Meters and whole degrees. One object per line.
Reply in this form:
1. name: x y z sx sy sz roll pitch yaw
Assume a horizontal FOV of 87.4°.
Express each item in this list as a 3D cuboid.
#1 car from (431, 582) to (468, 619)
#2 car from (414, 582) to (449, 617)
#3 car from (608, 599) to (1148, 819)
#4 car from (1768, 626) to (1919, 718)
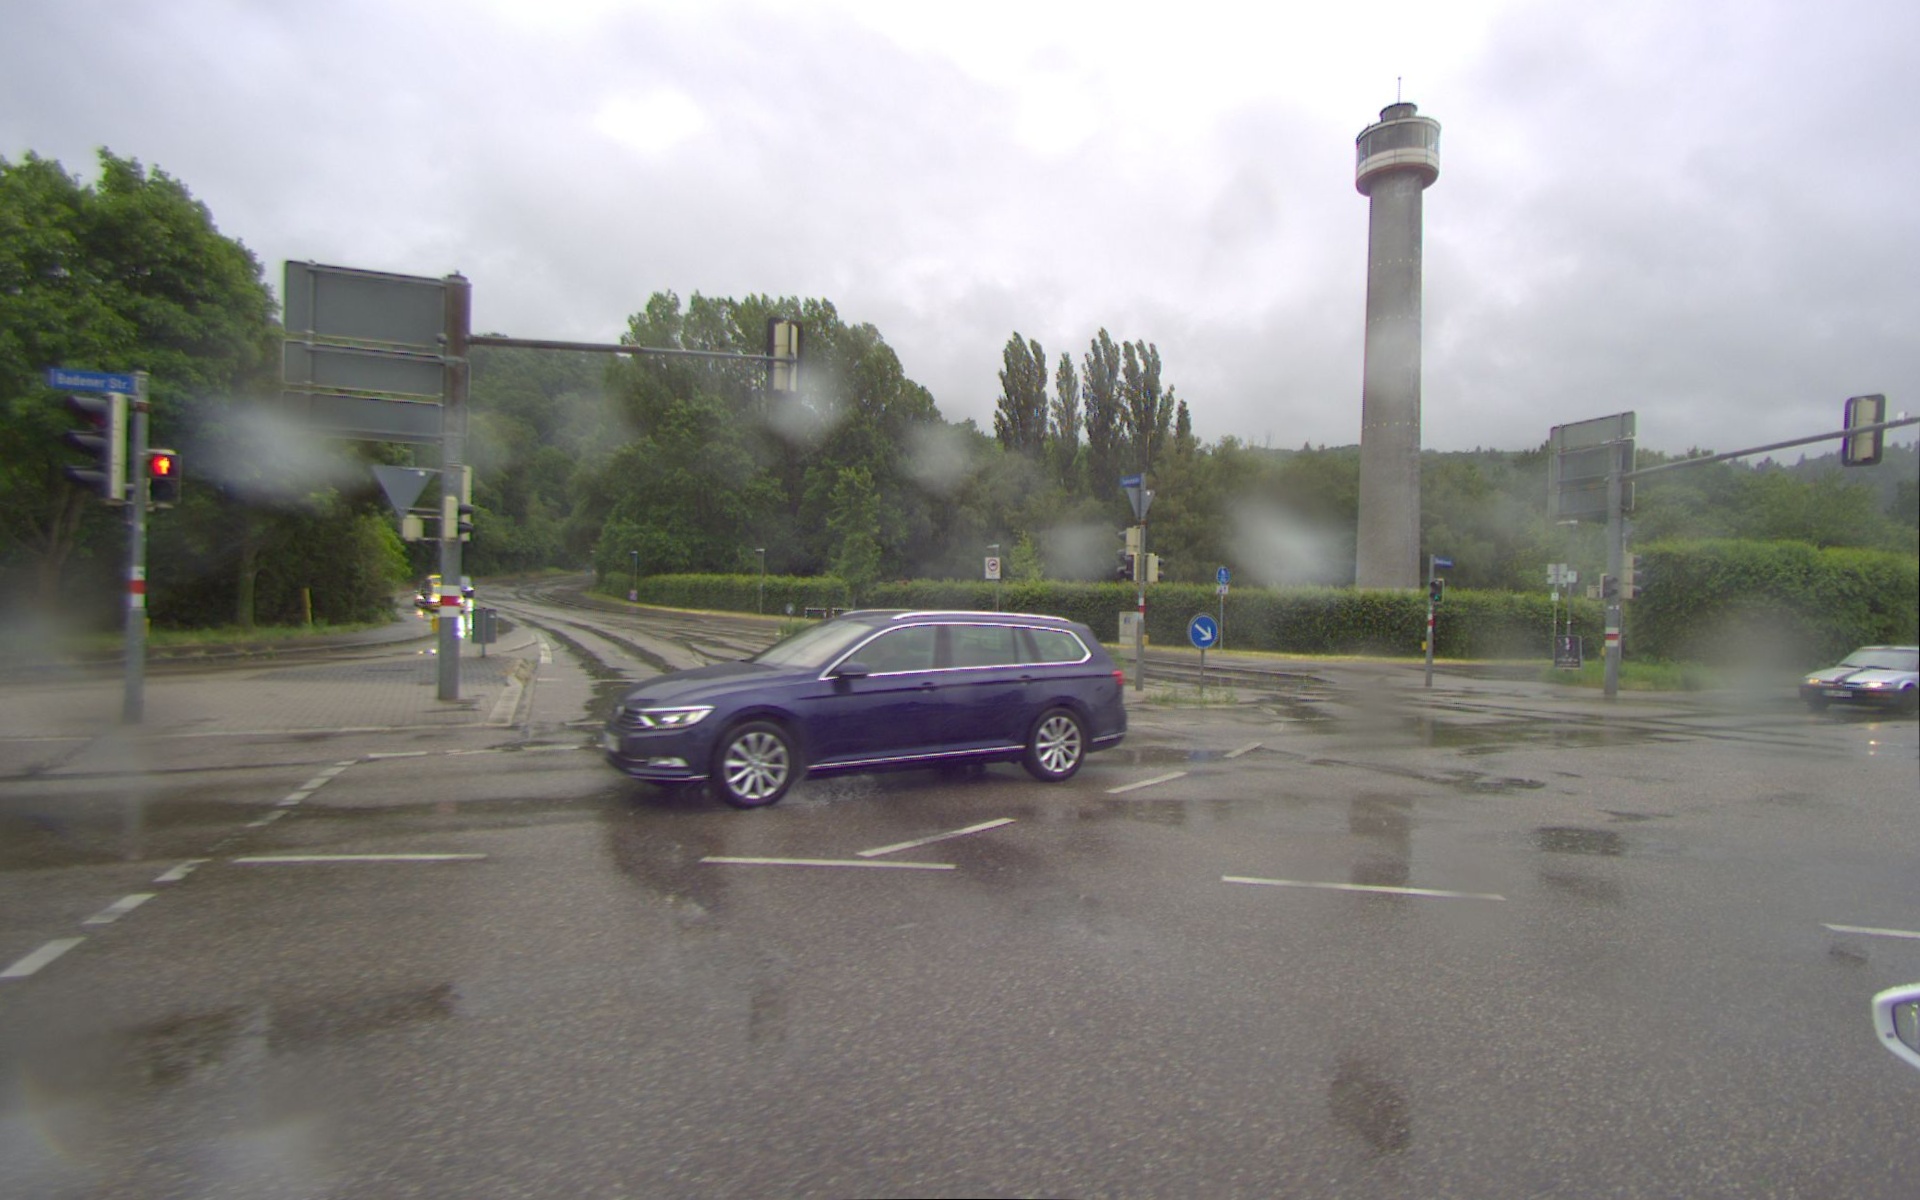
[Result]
1. car: -30.253 0.034 59.436 1.792 2.053 3.654 1 0 -29
2. car: -33.094 -0.029 62.893 1.792 2.040 3.653 1 0 -30
3. car: -0.587 0.802 8.742 4.404 1.485 1.699 2 0 -33
4. car: 19.526 1.456 21.288 4.005 1.731 2.033 1 0 -21
